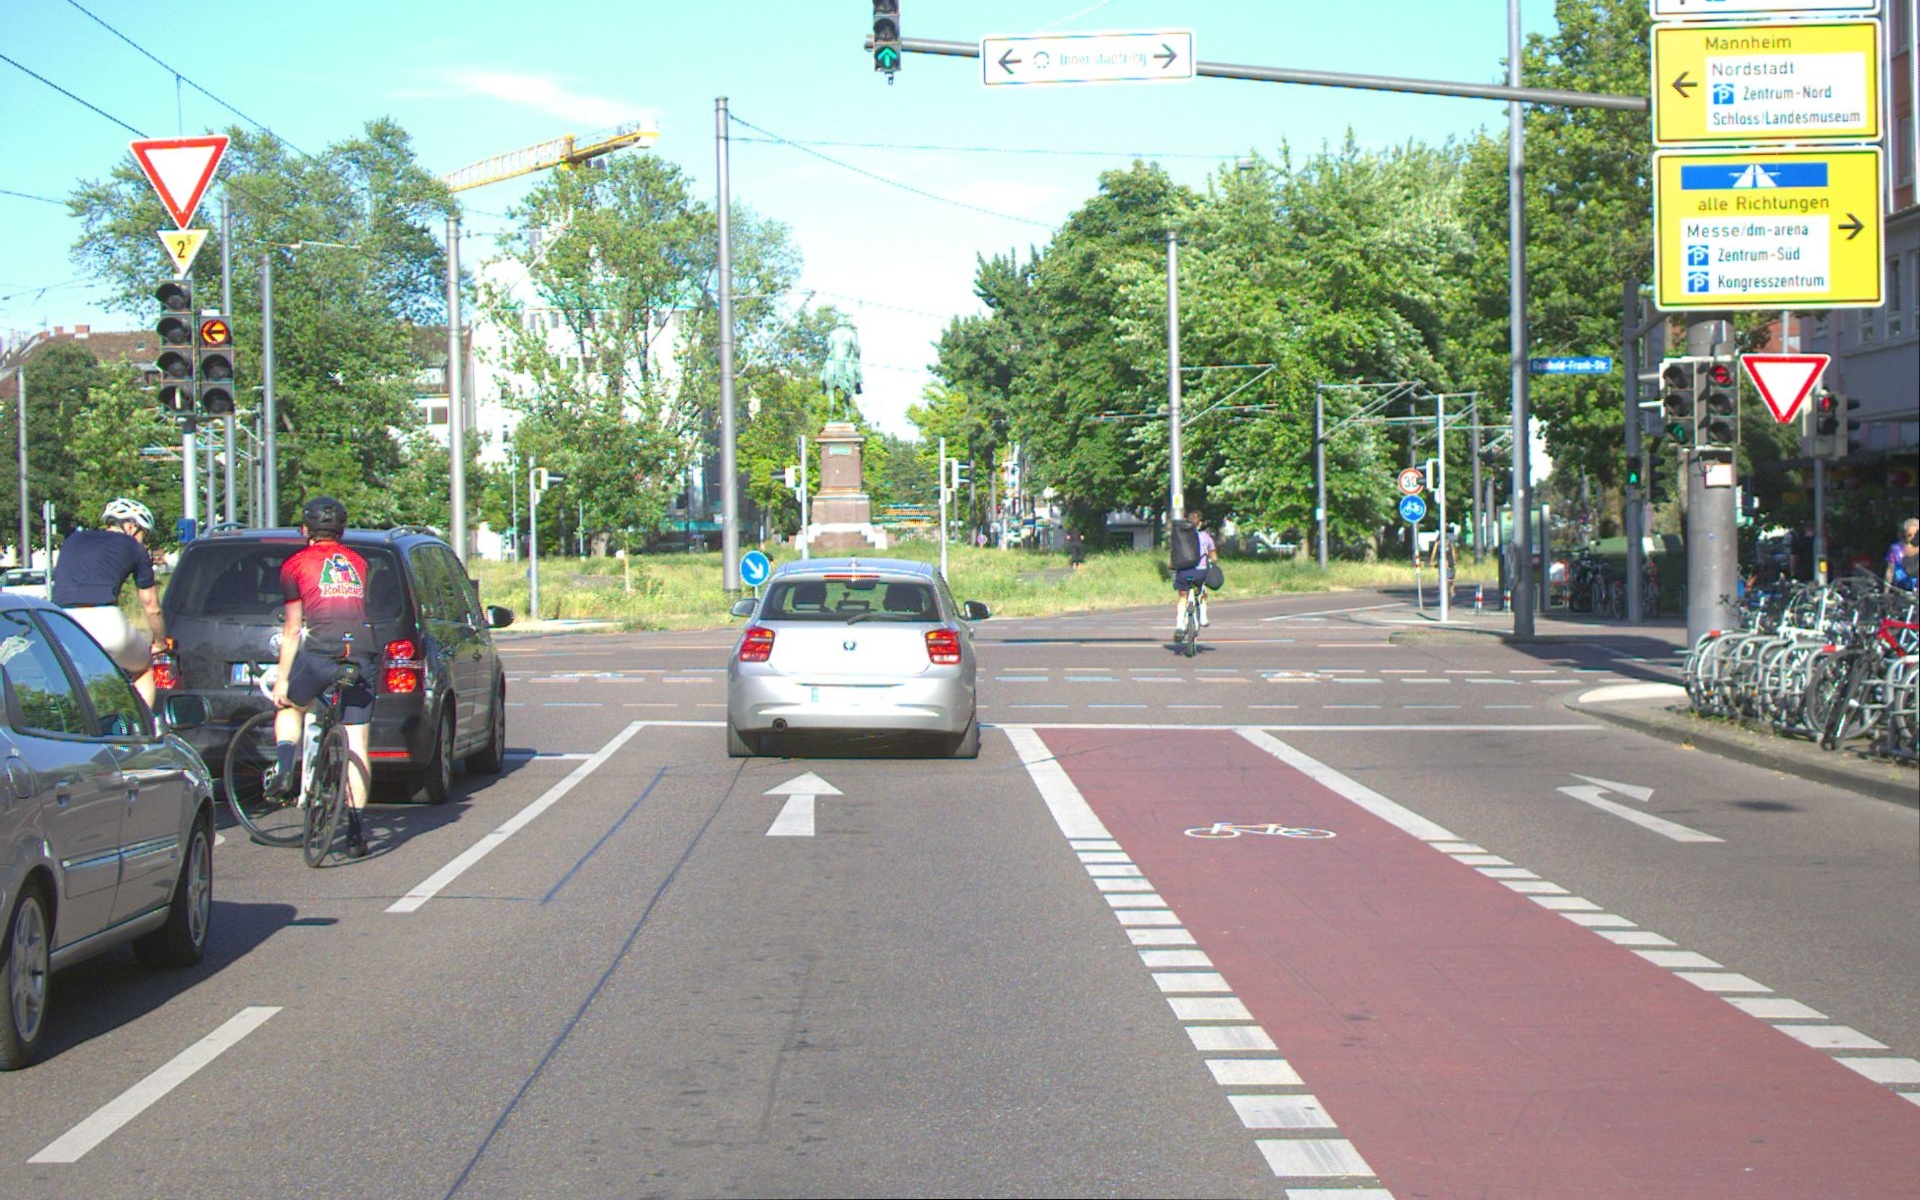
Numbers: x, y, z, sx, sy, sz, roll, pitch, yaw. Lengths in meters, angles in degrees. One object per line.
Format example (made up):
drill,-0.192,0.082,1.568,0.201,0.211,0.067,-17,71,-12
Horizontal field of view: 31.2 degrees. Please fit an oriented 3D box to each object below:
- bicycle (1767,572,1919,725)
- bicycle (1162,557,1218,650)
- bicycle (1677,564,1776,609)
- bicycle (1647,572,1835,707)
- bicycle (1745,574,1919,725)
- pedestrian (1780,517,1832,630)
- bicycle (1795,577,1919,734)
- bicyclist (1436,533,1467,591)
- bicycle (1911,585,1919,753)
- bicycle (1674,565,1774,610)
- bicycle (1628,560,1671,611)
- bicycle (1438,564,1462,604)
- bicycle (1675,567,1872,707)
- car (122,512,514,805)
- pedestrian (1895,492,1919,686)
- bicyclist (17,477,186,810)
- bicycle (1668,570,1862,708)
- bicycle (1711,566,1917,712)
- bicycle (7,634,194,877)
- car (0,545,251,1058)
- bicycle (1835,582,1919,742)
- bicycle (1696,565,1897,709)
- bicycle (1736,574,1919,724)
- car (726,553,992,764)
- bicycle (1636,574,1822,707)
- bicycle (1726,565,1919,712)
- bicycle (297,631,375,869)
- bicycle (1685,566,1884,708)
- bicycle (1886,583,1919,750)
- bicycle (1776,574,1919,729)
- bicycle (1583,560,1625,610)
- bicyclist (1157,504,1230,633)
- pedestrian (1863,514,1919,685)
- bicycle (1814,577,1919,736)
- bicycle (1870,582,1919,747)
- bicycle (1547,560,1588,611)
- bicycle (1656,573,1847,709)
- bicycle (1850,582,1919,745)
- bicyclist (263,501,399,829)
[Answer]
bicycle,6.563,0.339,24.636,1.465,1.063,0.257,-2,0,2
bicycle,2.776,0.024,41.608,0.499,1.085,1.997,1,1,-1
bicycle,19.063,-0.330,85.508,2.320,1.064,0.555,1,1,22
bicycle,6.418,0.324,28.270,1.465,1.063,0.257,-2,0,2
bicycle,6.504,0.358,25.073,1.465,1.063,0.257,-2,0,2
pedestrian,14.524,-0.455,59.056,0.708,1.912,0.704,1,1,3
bicycle,6.583,0.373,23.905,1.465,1.063,0.257,-2,0,2
bicyclist,11.788,-0.919,82.485,0.616,1.375,0.686,1,1,1
bicycle,6.773,0.417,21.649,1.465,1.063,0.257,-2,0,2
bicycle,18.858,-0.308,84.843,2.320,1.064,0.555,1,1,22
bicycle,13.980,-0.296,69.742,0.417,1.005,1.945,1,1,-2
bicycle,11.733,-0.387,82.381,0.352,0.955,1.573,1,1,1
bicycle,6.427,0.290,27.176,1.465,1.063,0.257,-2,0,2
car,-3.843,0.289,21.195,1.704,1.616,4.000,-1,1,-1
pedestrian,10.257,-0.110,35.881,0.791,2.007,0.870,1,1,6
bicyclist,-4.146,0.203,16.643,0.616,1.566,0.686,1,1,1
bicycle,6.445,0.310,27.543,1.465,1.063,0.257,-2,0,2
bicycle,6.480,0.292,26.100,1.465,1.063,0.257,-2,0,2
bicycle,-4.121,0.715,16.586,0.374,1.053,1.955,1,1,1
car,-3.497,0.529,11.077,1.644,1.416,4.000,1,1,-1
bicycle,6.686,0.404,23.194,1.465,1.063,0.257,-2,0,2
bicycle,6.441,0.283,26.489,1.465,1.063,0.257,-2,0,2
bicycle,6.509,0.359,25.396,1.465,1.063,0.257,-2,0,2
car,-0.700,0.373,25.511,1.798,1.410,4.000,-1,1,0
bicycle,6.408,0.337,28.661,1.465,1.063,0.257,-2,0,2
bicycle,6.515,0.286,25.763,1.465,1.063,0.257,-2,0,2
bicycle,-3.054,0.705,16.790,0.338,1.053,1.779,1,1,-11
bicycle,6.426,0.289,26.820,1.465,1.063,0.257,-2,0,2
bicycle,6.728,0.408,22.065,1.465,1.063,0.257,-2,0,2
bicycle,6.550,0.354,24.320,1.465,1.063,0.257,-2,0,2
bicycle,13.142,-0.311,70.192,0.417,1.005,1.945,1,1,-2
bicyclist,2.817,-0.384,41.565,0.785,1.526,0.895,1,1,-1
pedestrian,10.394,-0.012,37.821,0.826,1.850,0.916,1,1,14
bicycle,6.629,0.376,23.550,1.465,1.063,0.257,-2,0,2
bicycle,6.715,0.403,22.418,1.465,1.063,0.257,-2,0,2
bicycle,12.412,-0.301,70.291,0.417,1.005,1.945,1,1,-2
bicycle,6.430,0.332,27.954,1.465,1.063,0.257,-2,0,2
bicycle,6.687,0.407,22.807,1.465,1.063,0.257,-2,0,2
bicyclist,-3.085,0.304,16.829,0.616,1.566,0.686,-1,1,-12
